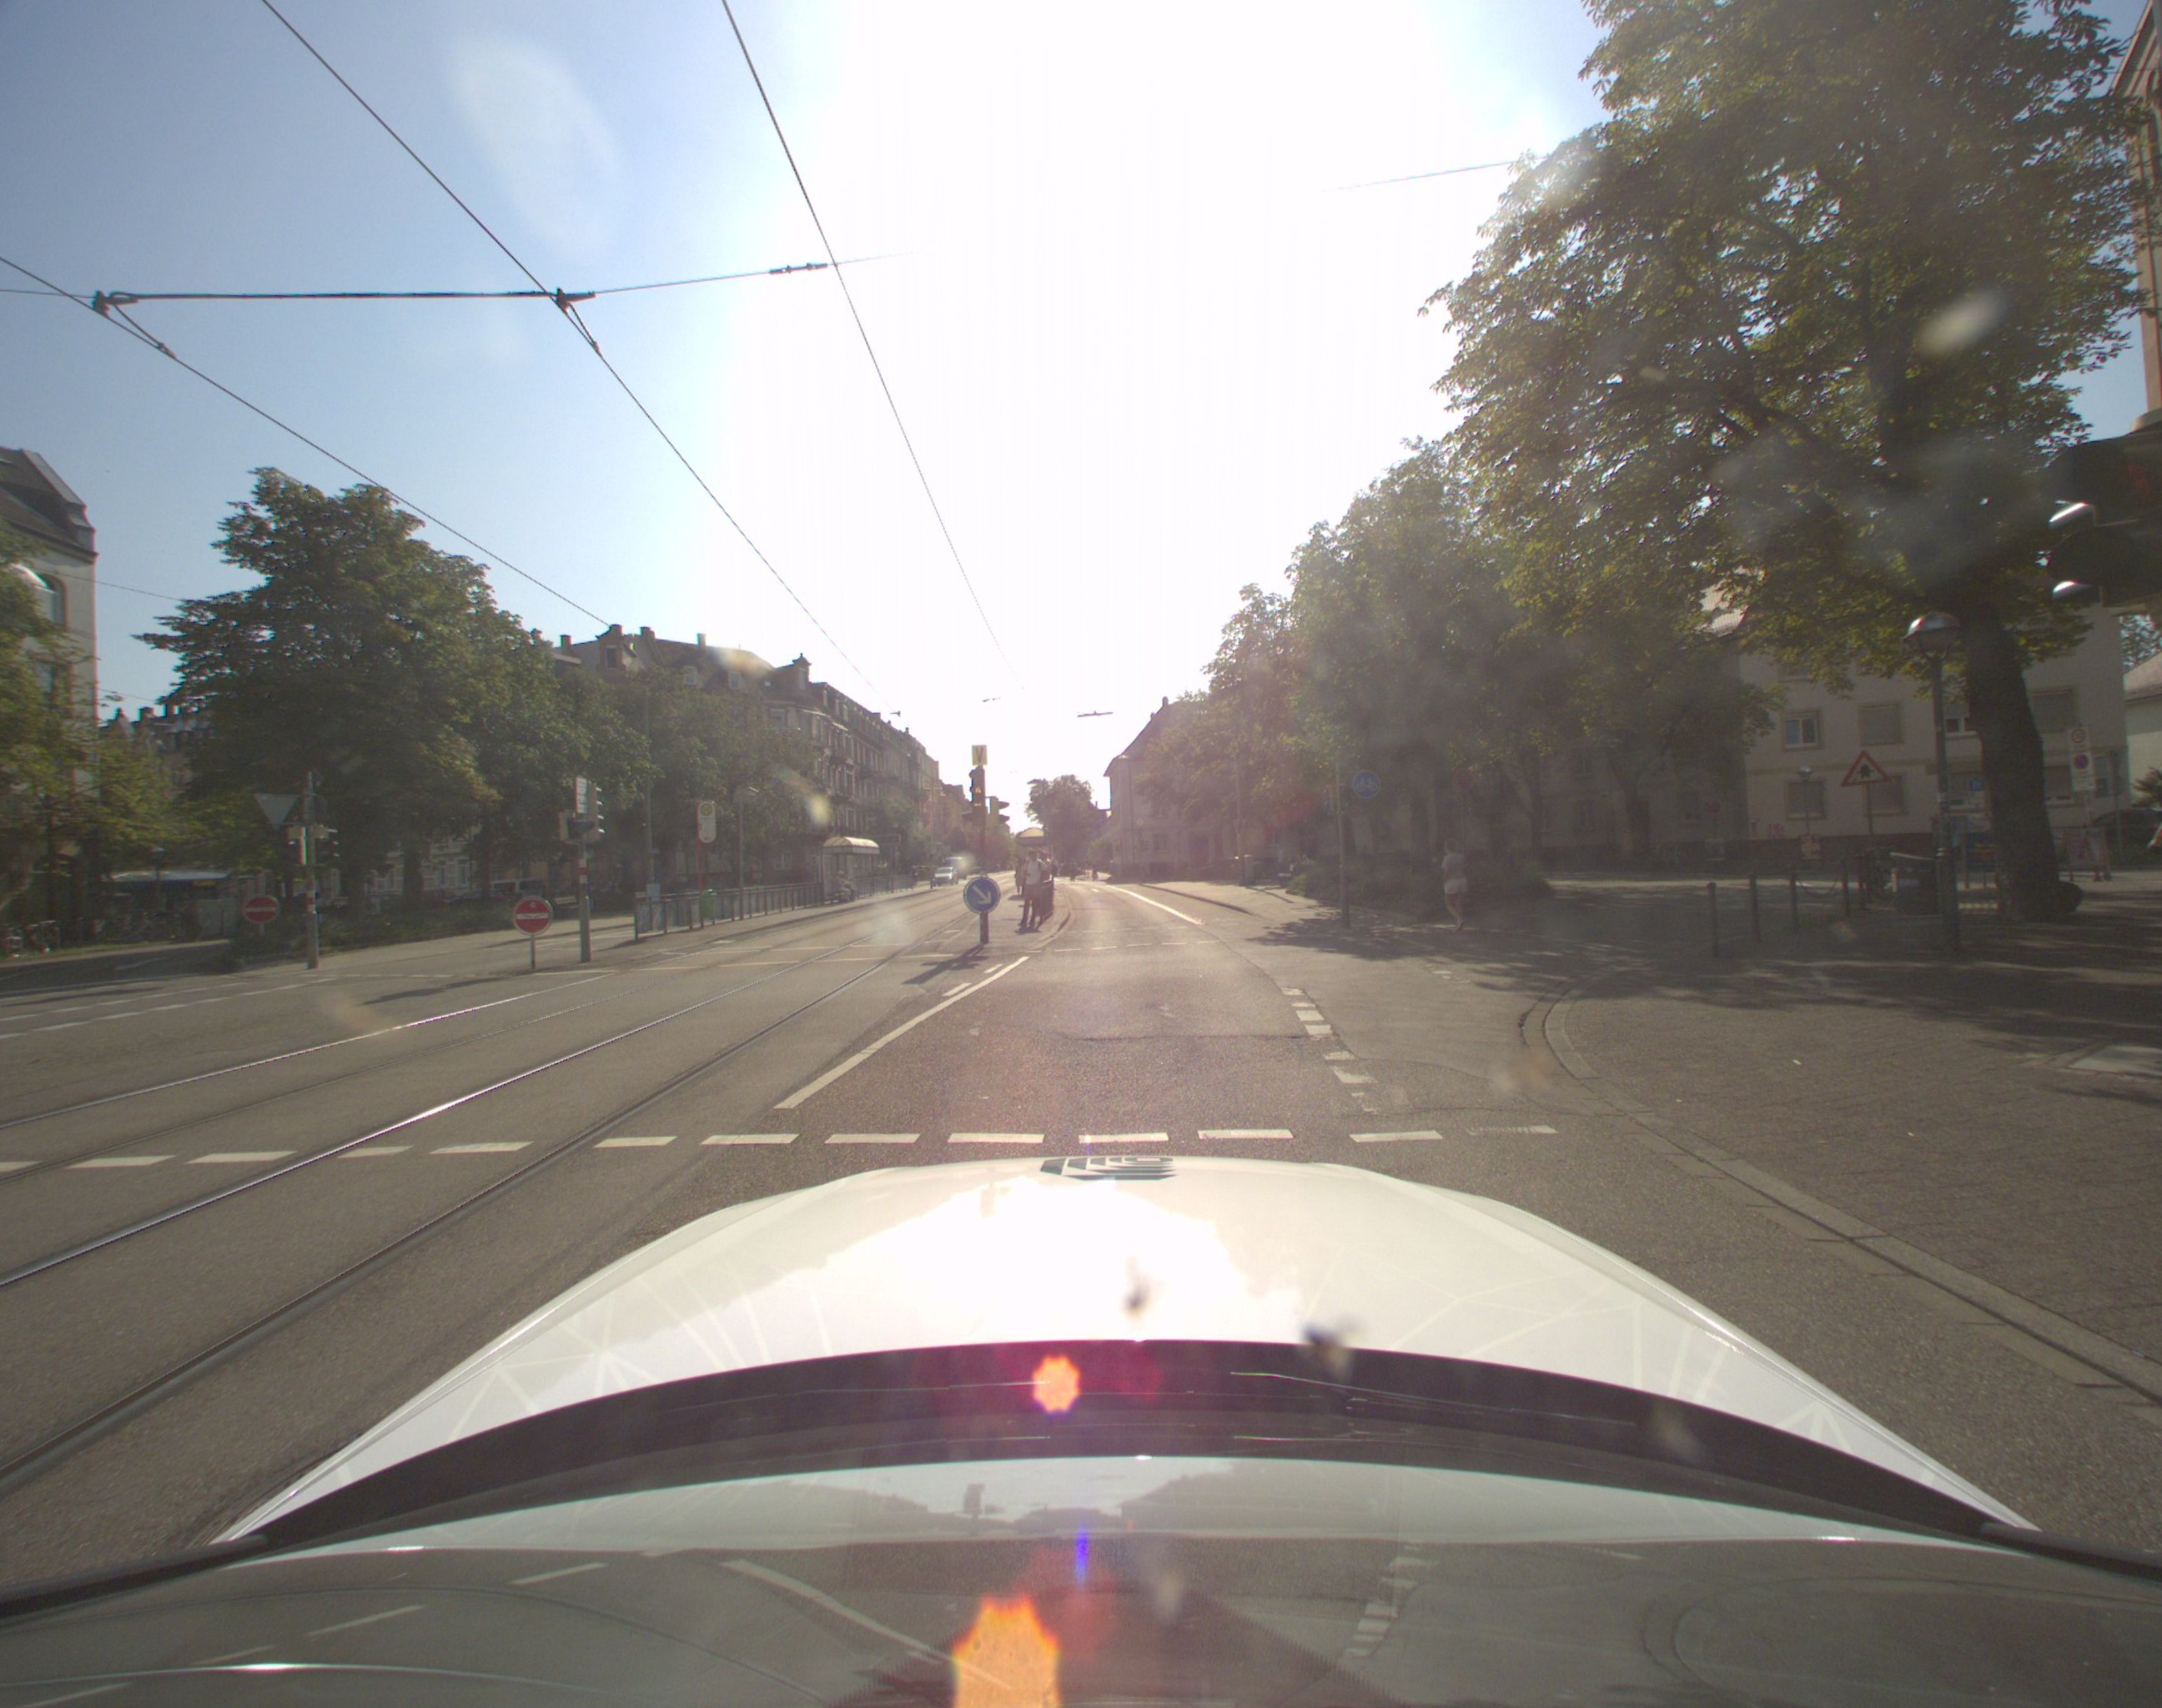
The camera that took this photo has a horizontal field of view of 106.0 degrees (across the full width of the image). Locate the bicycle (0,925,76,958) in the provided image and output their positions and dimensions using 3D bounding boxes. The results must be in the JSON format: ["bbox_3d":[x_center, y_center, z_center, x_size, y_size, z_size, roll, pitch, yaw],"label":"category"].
[{"bbox_3d":[-34.111,2.845,26.386,1.878,0.935,0.634,-2,-2,-20],"label":"bicycle"}]

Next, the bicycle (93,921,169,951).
[{"bbox_3d":[-36.325,3.134,31.167,1.773,0.978,0.600,-3,-1,-25],"label":"bicycle"}]

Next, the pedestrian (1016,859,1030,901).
[{"bbox_3d":[-2.462,1.107,34.559,0.530,1.759,0.545,0,1,0],"label":"pedestrian"}]

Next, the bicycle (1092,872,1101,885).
[{"bbox_3d":[1.260,1.984,65.409,0.557,0.978,1.854,-3,-1,-3],"label":"bicycle"}]

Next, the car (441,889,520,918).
[{"bbox_3d":[-37.937,3.122,51.463,4.284,1.569,2.011,-3,-1,22],"label":"car"}]

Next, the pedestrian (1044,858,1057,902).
[{"bbox_3d":[-1.233,1.059,33.174,0.503,1.759,0.534,0,1,-2],"label":"pedestrian"}]

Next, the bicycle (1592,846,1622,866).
[{"bbox_3d":[26.586,0.092,41.184,0.423,0.978,1.553,-3,-1,-4],"label":"bicycle"}]

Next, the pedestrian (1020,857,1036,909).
[{"bbox_3d":[-1.843,1.003,28.343,0.503,1.759,0.534,0,1,-2],"label":"pedestrian"}]

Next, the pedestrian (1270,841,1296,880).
[{"bbox_3d":[9.435,0.301,38.046,0.882,1.740,0.781,-3,-1,36],"label":"pedestrian"}]

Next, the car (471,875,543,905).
[{"bbox_3d":[-38.856,2.413,55.119,3.953,1.828,2.010,-3,-1,20],"label":"car"}]

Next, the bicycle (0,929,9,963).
[{"bbox_3d":[-32.905,2.751,23.723,1.909,0.980,0.678,-1,-2,-36],"label":"bicycle"}]

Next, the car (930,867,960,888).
[{"bbox_3d":[-11.802,2.041,70.819,1.794,1.653,3.644,-3,-1,2],"label":"car"}]

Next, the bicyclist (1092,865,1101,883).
[{"bbox_3d":[1.236,1.617,65.428,0.557,1.417,0.870,-3,-1,-3],"label":"bicyclist"}]

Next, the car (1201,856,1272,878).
[{"bbox_3d":[10.739,0.922,56.344,4.280,1.320,2.013,-3,-1,37],"label":"car"}]

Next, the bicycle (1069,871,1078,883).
[{"bbox_3d":[-0.661,1.948,69.114,0.627,0.978,1.768,-3,-1,-3],"label":"bicycle"}]

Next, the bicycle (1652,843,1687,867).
[{"bbox_3d":[26.389,0.045,36.522,1.556,1.039,0.423,-3,-1,-21],"label":"bicycle"}]

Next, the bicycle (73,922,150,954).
[{"bbox_3d":[-36.173,3.125,30.395,1.772,0.978,0.516,-3,-1,-24],"label":"bicycle"}]

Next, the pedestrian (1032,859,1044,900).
[{"bbox_3d":[-1.864,1.103,35.157,0.503,1.759,0.534,0,1,-2],"label":"pedestrian"}]

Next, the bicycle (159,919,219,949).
[{"bbox_3d":[-34.734,3.102,31.744,0.423,0.978,1.769,-3,-1,-2],"label":"bicycle"}]

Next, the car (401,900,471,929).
[{"bbox_3d":[-45.718,4.299,57.728,3.953,1.828,2.010,-3,-1,20],"label":"car"}]

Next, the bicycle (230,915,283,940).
[{"bbox_3d":[-35.465,3.164,35.037,1.755,0.978,0.606,-3,-1,5],"label":"bicycle"}]

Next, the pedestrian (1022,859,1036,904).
[{"bbox_3d":[-2.067,1.072,32.344,0.541,1.759,0.534,0,1,-2],"label":"pedestrian"}]

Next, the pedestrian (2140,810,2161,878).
[{"bbox_3d":[28.133,-0.274,20.992,0.895,1.740,0.770,-2,-1,-25],"label":"pedestrian"}]

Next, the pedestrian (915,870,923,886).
[{"bbox_3d":[-17.468,2.615,87.914,0.750,1.731,0.769,-2,-1,-10],"label":"pedestrian"}]

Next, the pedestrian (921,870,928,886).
[{"bbox_3d":[-17.400,2.649,90.517,0.750,1.731,0.769,-2,-1,-10],"label":"pedestrian"}]

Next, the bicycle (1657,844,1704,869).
[{"bbox_3d":[25.612,0.122,34.816,1.540,0.978,0.427,-3,-1,13],"label":"bicycle"}]

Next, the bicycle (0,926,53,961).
[{"bbox_3d":[-33.290,2.780,25.072,1.909,0.980,0.678,-1,-2,-36],"label":"bicycle"}]

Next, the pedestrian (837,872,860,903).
[{"bbox_3d":[-10.485,1.490,36.714,0.827,1.359,0.774,-2,-1,-6],"label":"pedestrian"}]

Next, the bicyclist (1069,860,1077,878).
[{"bbox_3d":[-0.685,1.301,69.121,0.627,1.507,0.678,-3,-1,-3],"label":"bicyclist"}]

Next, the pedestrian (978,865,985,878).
[{"bbox_3d":[-13.295,2.323,108.692,0.750,1.731,0.769,-2,-1,-10],"label":"pedestrian"}]

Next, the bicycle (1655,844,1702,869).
[{"bbox_3d":[25.770,0.106,35.124,1.540,0.978,0.427,-3,-1,13],"label":"bicycle"}]

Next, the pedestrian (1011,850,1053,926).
[{"bbox_3d":[-1.170,0.789,19.398,0.693,1.725,0.753,1,2,31],"label":"pedestrian"}]

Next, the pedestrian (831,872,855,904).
[{"bbox_3d":[-10.440,1.475,35.739,0.827,1.359,0.774,-2,-1,-6],"label":"pedestrian"}]

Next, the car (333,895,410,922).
[{"bbox_3d":[-47.209,3.614,54.215,4.285,1.569,2.010,-3,-1,20],"label":"car"}]

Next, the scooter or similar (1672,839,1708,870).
[{"bbox_3d":[25.646,0.023,34.292,1.059,1.197,0.462,-6,-1,30],"label":"scooter or similar"}]

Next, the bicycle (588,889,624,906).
[{"bbox_3d":[-30.276,2.785,51.923,1.949,0.978,0.491,-2,-1,-32],"label":"bicycle"}]

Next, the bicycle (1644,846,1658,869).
[{"bbox_3d":[25.468,0.150,36.377,0.420,0.978,1.566,-3,-1,36],"label":"bicycle"}]

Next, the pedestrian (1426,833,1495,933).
[{"bbox_3d":[6.842,0.516,14.705,0.750,1.731,0.769,-2,-1,-10],"label":"pedestrian"}]

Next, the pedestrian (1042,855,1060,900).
[{"bbox_3d":[-1.213,0.923,32.559,0.707,1.759,0.534,0,1,-2],"label":"pedestrian"}]

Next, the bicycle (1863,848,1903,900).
[{"bbox_3d":[16.682,0.401,16.934,1.780,0.978,0.421,-2,-1,-41],"label":"bicycle"}]

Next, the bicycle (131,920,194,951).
[{"bbox_3d":[-35.089,3.103,31.146,0.423,0.978,1.769,-3,-1,-2],"label":"bicycle"}]

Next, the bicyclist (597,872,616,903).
[{"bbox_3d":[-30.282,2.130,51.937,0.993,1.857,0.488,-2,-1,-32],"label":"bicyclist"}]

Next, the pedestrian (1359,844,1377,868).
[{"bbox_3d":[20.876,0.147,59.229,0.780,1.740,0.883,-2,-1,-43],"label":"pedestrian"}]

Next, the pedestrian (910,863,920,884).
[{"bbox_3d":[-14.417,1.669,70.619,0.750,1.731,0.769,-2,-1,-10],"label":"pedestrian"}]

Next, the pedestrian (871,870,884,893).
[{"bbox_3d":[-15.966,2.180,64.035,0.747,1.731,0.771,-3,-1,1],"label":"pedestrian"}]

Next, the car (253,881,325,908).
[{"bbox_3d":[-61.177,3.129,62.912,3.961,1.828,2.006,-3,-1,11],"label":"car"}]

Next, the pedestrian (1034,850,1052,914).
[{"bbox_3d":[-1.096,0.794,23.666,0.503,1.834,0.534,0,1,-2],"label":"pedestrian"}]
